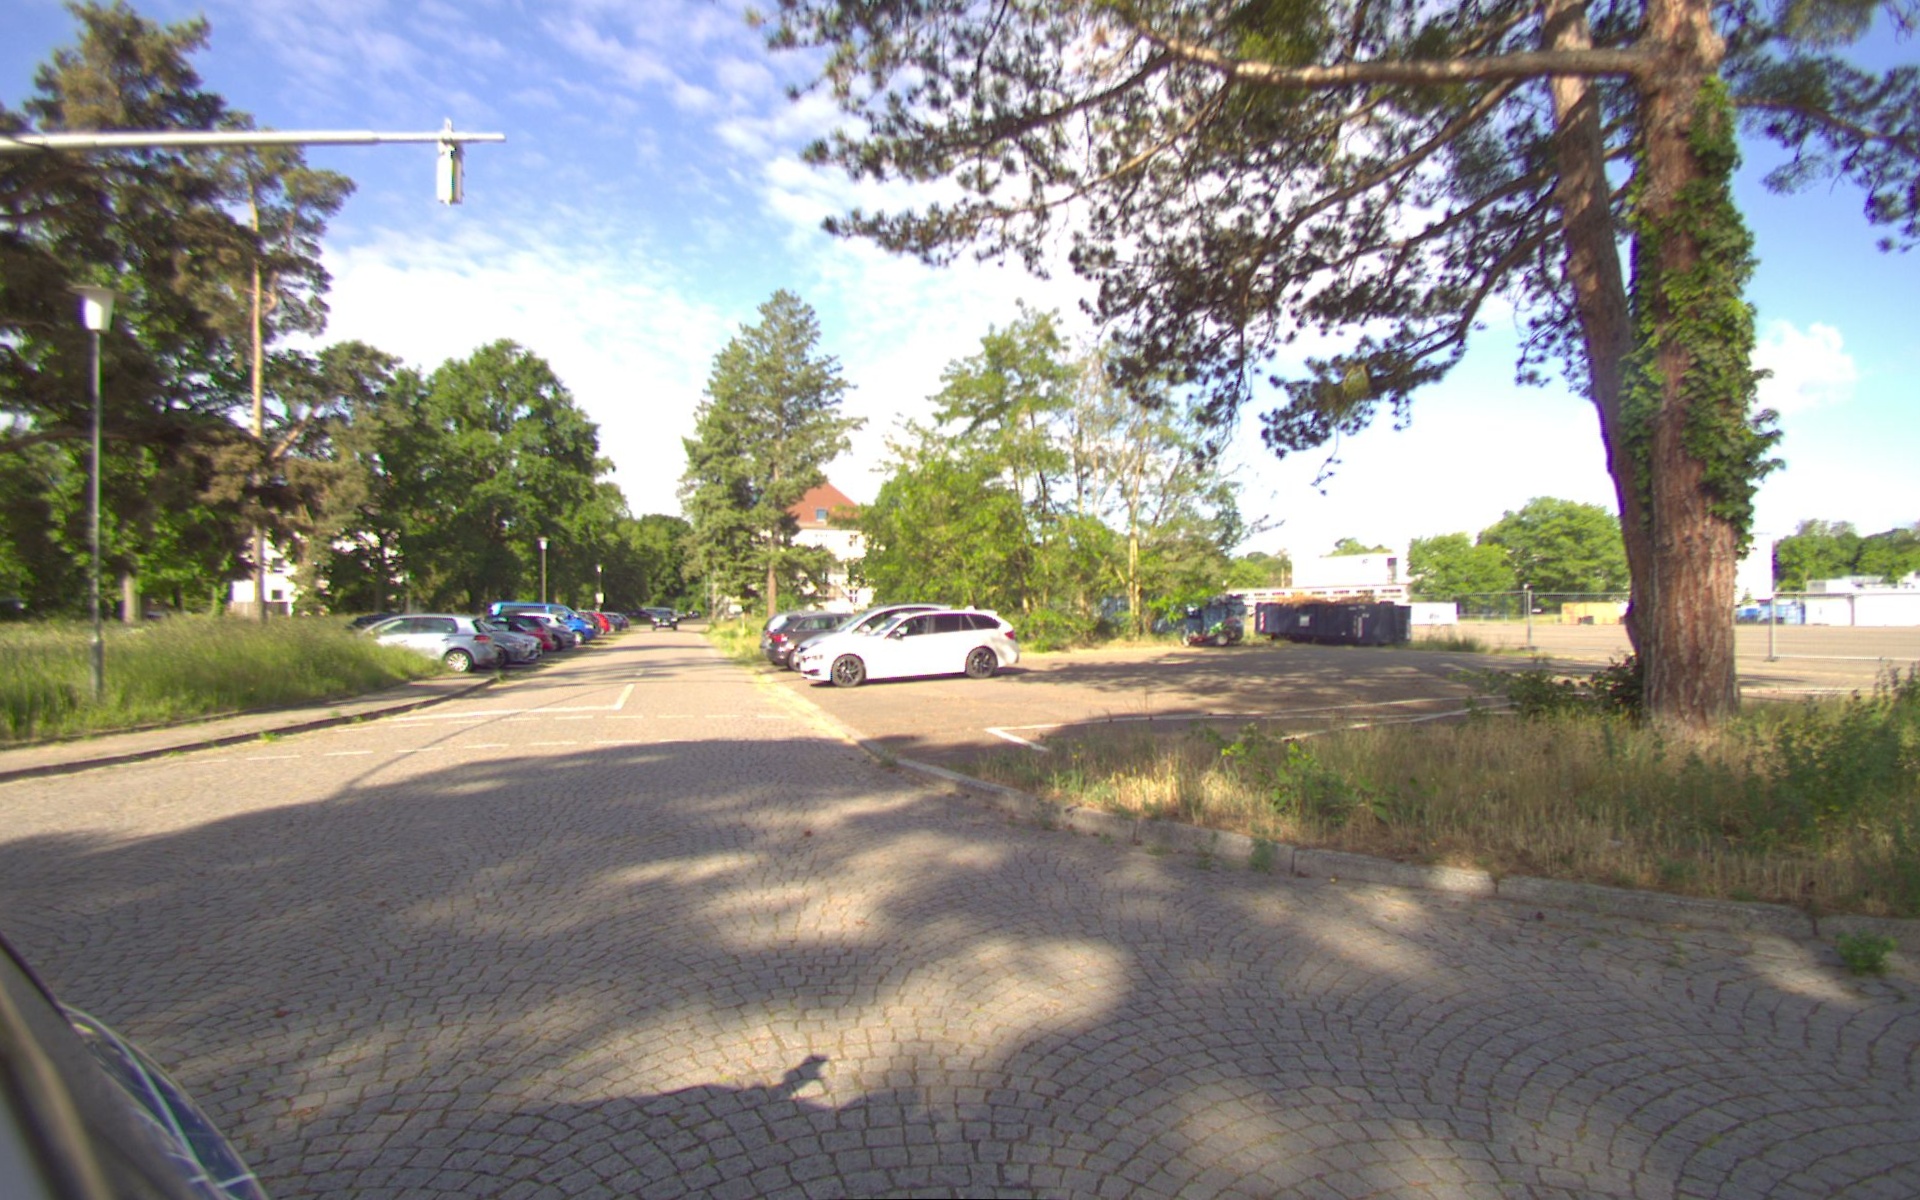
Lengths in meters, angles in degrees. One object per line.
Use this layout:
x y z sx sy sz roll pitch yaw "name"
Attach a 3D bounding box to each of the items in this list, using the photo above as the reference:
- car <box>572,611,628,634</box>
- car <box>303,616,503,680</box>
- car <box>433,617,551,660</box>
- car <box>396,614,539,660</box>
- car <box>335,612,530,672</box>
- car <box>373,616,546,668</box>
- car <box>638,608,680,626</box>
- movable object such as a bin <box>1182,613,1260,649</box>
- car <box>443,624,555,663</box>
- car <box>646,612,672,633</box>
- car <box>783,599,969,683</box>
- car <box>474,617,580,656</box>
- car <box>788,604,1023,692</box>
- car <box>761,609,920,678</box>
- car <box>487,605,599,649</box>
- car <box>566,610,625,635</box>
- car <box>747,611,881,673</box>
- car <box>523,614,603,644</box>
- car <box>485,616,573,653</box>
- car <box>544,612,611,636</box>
-28.758 1.795 80.956 3.935 1.626 1.761 -3 1 -10 "car"
-13.580 1.161 24.923 3.960 1.471 1.876 1 -1 -15 "car"
-17.028 1.380 37.011 3.718 1.502 1.553 0 -1 -15 "car"
-15.628 1.174 32.297 3.854 1.404 1.666 1 -1 -15 "car"
-14.162 1.135 27.481 4.432 1.528 1.832 1 -1 -18 "car"
-14.806 1.250 30.196 4.351 1.413 1.831 2 -1 -16 "car"
-38.349 2.110 129.055 4.986 2.281 2.006 0 -1 -15 "car"
8.436 0.991 32.755 2.247 1.116 1.001 0 -1 -17 "movable object such as a bin"
-15.734 1.456 34.660 3.302 1.265 1.424 0 -1 -15 "car"
-23.476 1.753 78.861 1.837 1.597 4.012 0 -1 -17 "car"
-1.950 0.902 23.322 3.889 1.638 1.727 -3 0 -19 "car"
-17.103 1.415 40.105 3.571 1.502 1.509 0 -1 -5 "car"
-1.139 0.945 20.891 4.478 1.478 1.758 -3 0 -18 "car"
-3.071 1.064 25.823 3.745 1.482 1.692 -3 0 -16 "car"
-19.690 1.254 47.975 4.651 2.029 2.005 0 -1 -13 "car"
-27.466 1.675 76.303 3.934 1.754 1.761 -2 0 -12 "car"
-4.118 1.129 28.446 3.417 1.482 1.641 -3 0 -18 "car"
-22.159 1.607 56.587 3.934 1.652 1.761 0 -1 -12 "car"
-18.160 1.451 42.784 3.213 1.502 1.453 0 -1 -12 "car"
-25.099 1.544 66.558 3.934 1.529 1.761 0 -1 -12 "car"
